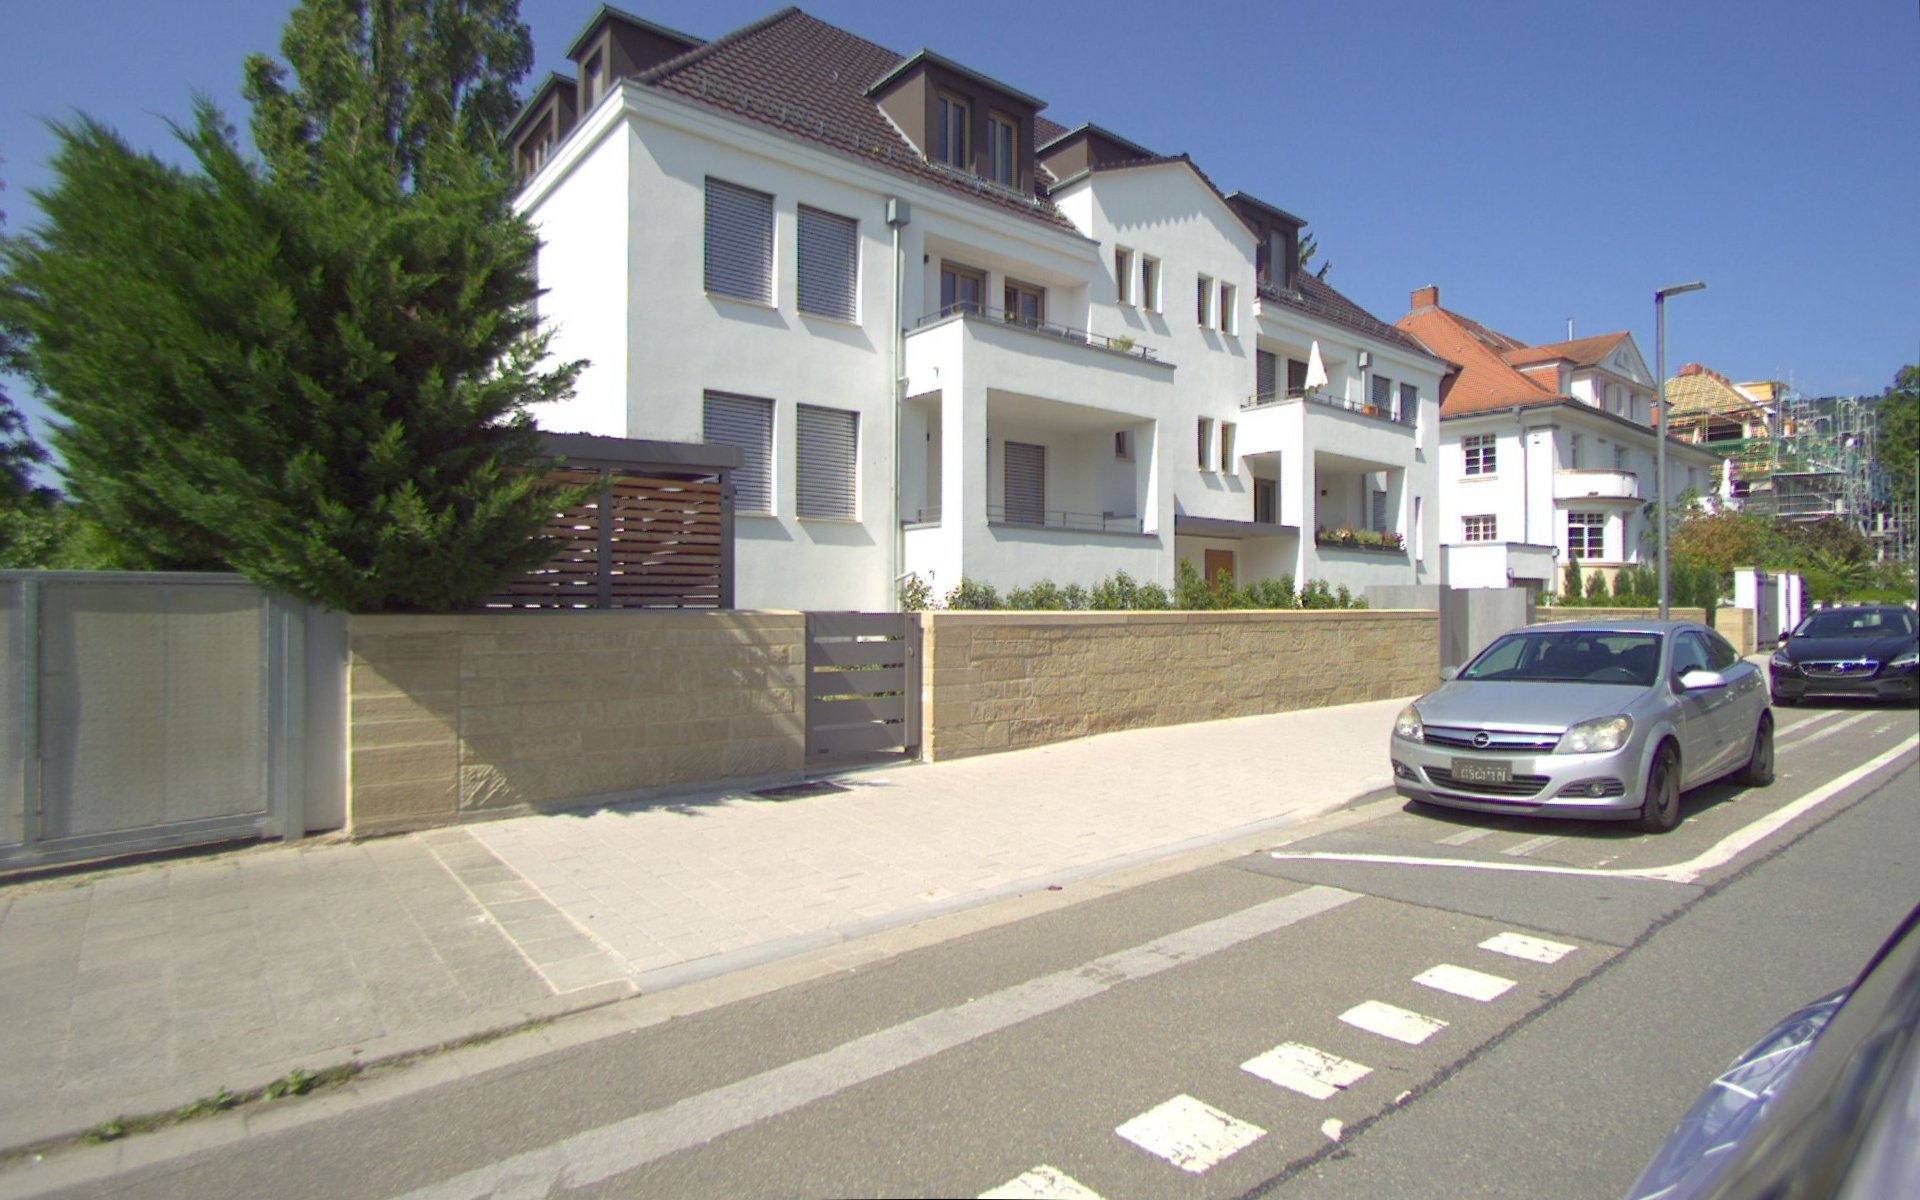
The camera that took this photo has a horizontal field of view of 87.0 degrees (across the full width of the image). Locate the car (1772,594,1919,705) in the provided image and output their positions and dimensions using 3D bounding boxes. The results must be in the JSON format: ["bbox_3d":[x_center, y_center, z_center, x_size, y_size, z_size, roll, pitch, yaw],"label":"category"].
[{"bbox_3d":[13.968,0.681,15.437,4.097,1.468,1.724,-1,-2,-41],"label":"car"}]

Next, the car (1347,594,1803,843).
[{"bbox_3d":[4.916,0.734,7.878,4.004,1.346,1.739,-2,-2,-39],"label":"car"}]

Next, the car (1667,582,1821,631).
[{"bbox_3d":[28.741,0.266,37.203,1.672,1.603,4.168,-1,-2,-40],"label":"car"}]
